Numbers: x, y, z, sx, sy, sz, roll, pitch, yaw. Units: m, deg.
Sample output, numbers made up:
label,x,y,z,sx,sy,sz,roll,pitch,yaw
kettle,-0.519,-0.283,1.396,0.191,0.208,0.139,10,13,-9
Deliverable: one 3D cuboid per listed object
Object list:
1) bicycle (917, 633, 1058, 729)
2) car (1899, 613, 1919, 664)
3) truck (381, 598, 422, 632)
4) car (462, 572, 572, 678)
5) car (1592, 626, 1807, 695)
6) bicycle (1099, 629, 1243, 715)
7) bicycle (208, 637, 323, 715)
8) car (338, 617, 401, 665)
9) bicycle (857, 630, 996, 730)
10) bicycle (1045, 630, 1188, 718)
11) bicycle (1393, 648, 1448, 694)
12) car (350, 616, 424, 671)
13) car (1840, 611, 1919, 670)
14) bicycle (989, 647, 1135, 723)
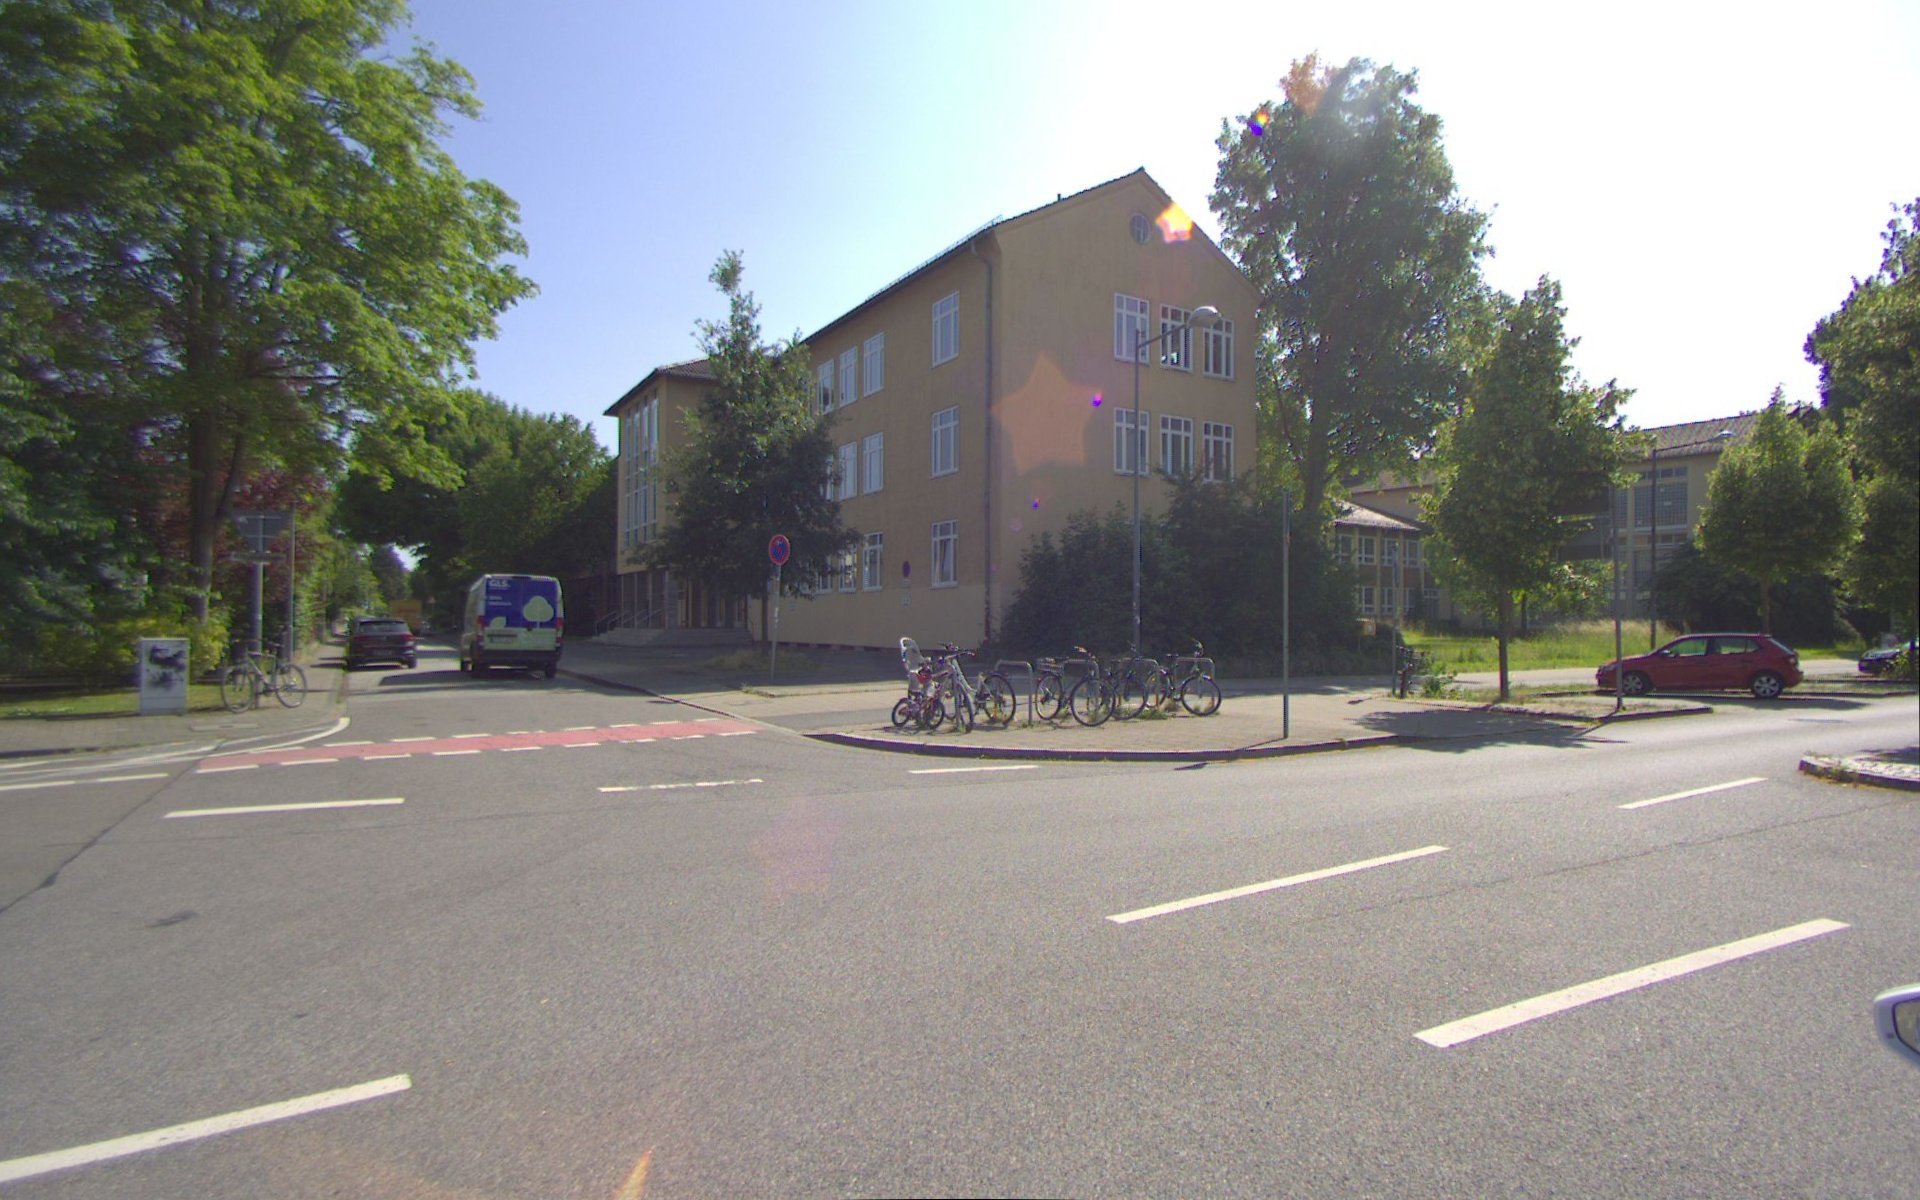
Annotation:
label,x,y,z,sx,sy,sz,roll,pitch,yaw
bicycle,0.343,1.127,14.681,0.732,1.255,2.530,0,-1,-33
car,35.895,1.382,35.458,3.710,1.795,1.814,0,-1,33
truck,-45.030,1.201,80.903,2.211,2.631,8.739,-1,-1,-33
car,-12.199,0.705,27.380,2.255,2.557,6.090,0,-2,-29
car,17.470,1.402,23.878,3.938,1.486,1.992,-2,-2,38
bicycle,3.400,1.126,16.469,0.732,1.273,2.529,0,-1,-33
bicycle,-10.776,1.157,15.651,0.370,1.095,1.717,-1,0,9
car,-21.065,1.414,35.766,1.730,1.572,3.760,0,-1,-34
bicycle,-0.531,1.073,14.166,0.732,1.273,2.530,0,-1,-33
bicycle,2.411,1.119,15.863,0.732,1.273,2.500,0,-1,-33
bicycle,9.668,1.484,21.084,1.259,0.915,0.517,1,-2,-37
car,-17.756,1.305,31.064,1.730,1.572,3.760,0,-1,-34
car,31.108,1.265,32.040,4.107,1.840,2.004,-1,-1,21
bicycle,1.461,1.226,15.020,0.732,1.000,2.530,0,-1,-33
